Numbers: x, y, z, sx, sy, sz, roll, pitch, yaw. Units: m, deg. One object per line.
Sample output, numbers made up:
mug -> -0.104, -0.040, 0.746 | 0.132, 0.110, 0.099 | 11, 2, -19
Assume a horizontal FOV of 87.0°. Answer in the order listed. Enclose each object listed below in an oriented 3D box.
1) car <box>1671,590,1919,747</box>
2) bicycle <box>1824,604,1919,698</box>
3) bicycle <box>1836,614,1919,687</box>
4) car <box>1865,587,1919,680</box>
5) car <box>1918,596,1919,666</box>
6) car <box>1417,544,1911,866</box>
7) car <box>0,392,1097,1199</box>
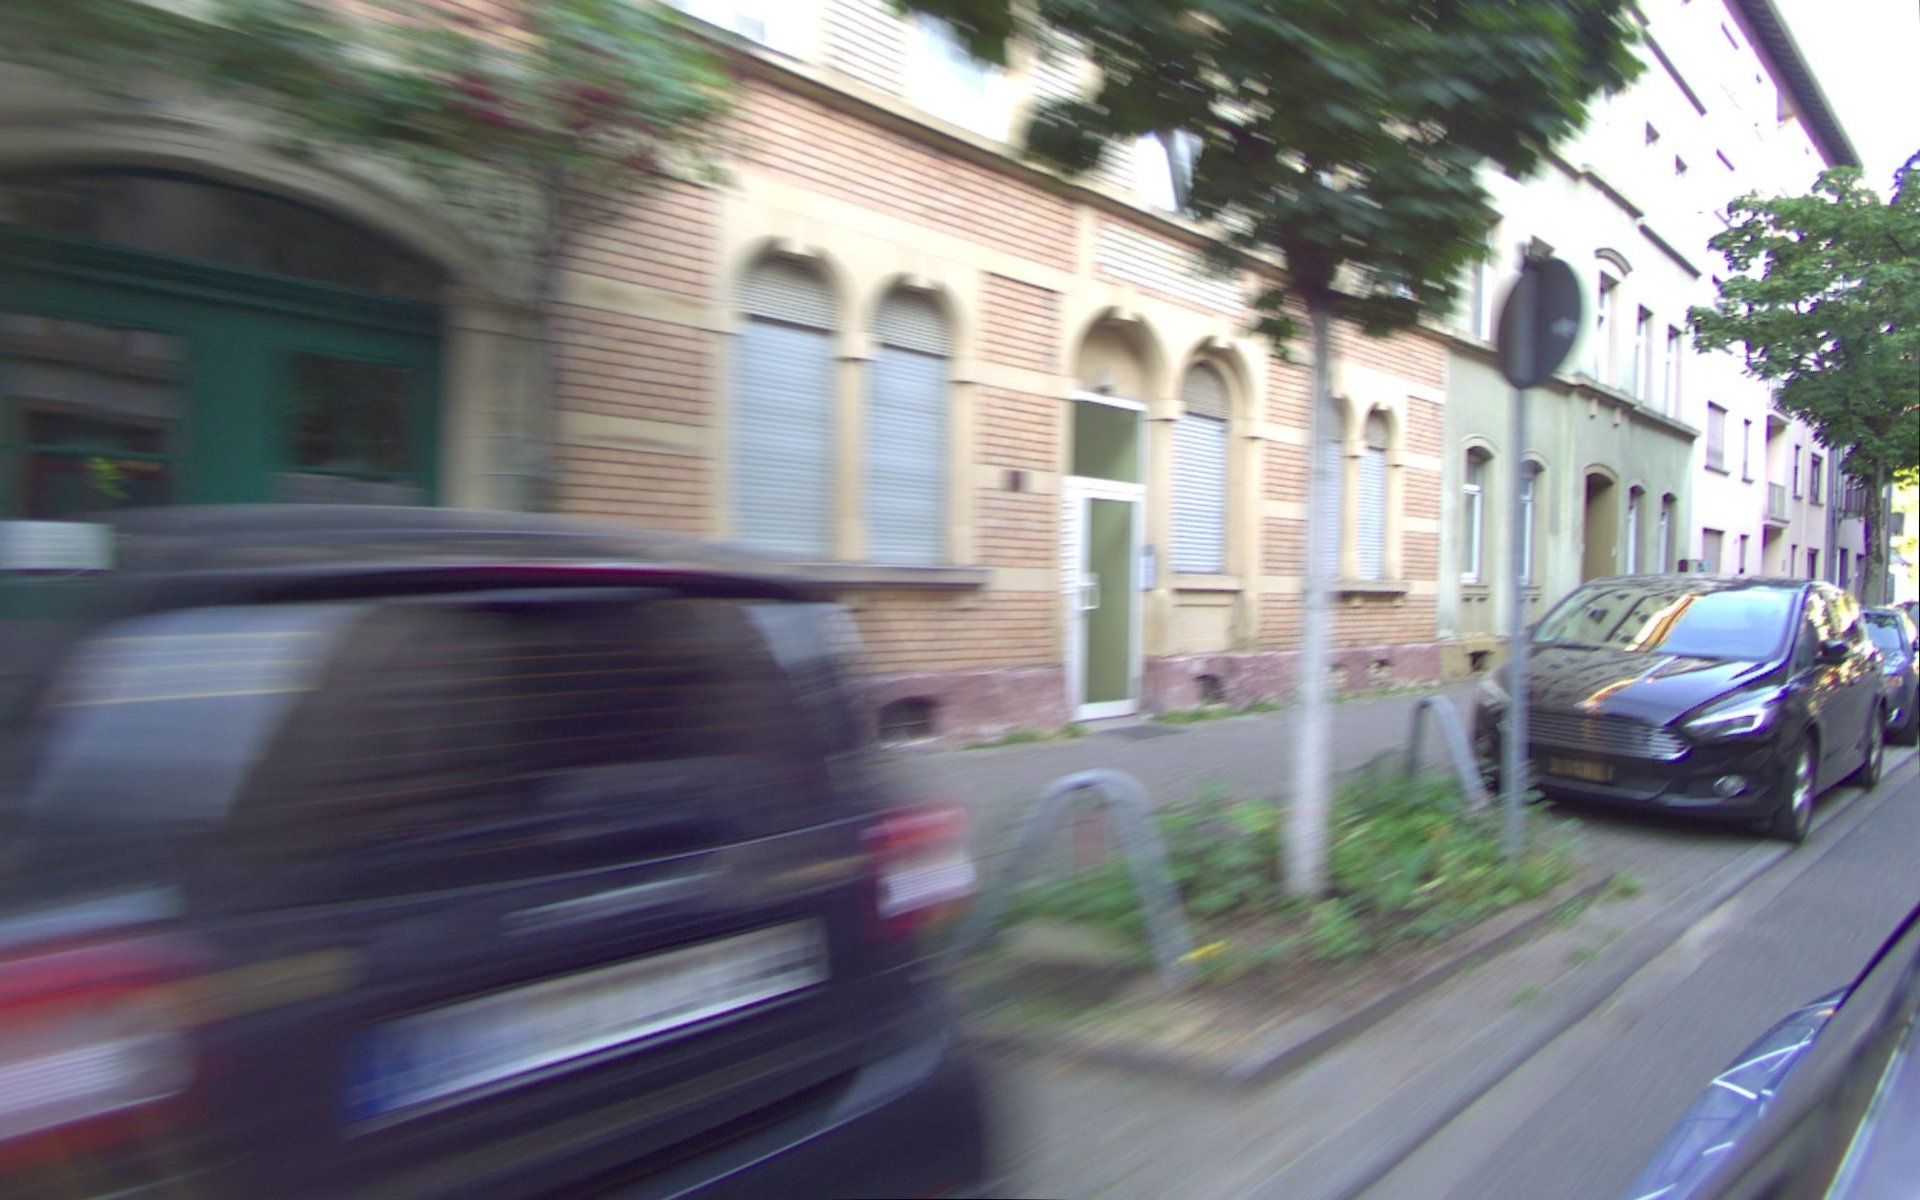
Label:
car -> 10.277, 0.634, 11.890 | 4.781, 1.421, 2.051 | 0, 2, -41
bicycle -> 13.338, 0.715, 14.161 | 1.739, 1.238, 0.636 | 2, 3, 23
bicycle -> 15.126, 0.806, 16.147 | 0.628, 1.033, 1.762 | 1, 3, -5
car -> 18.017, 0.582, 18.391 | 4.052, 1.558, 1.834 | 0, 2, -41
car -> 21.819, 0.658, 21.628 | 3.576, 1.458, 1.655 | 0, 1, -42
car -> 5.290, 0.511, 7.359 | 4.376, 1.651, 1.942 | 0, 1, -41
car -> -1.216, 0.515, 2.459 | 1.499, 1.592, 2.721 | 0, 4, -40
